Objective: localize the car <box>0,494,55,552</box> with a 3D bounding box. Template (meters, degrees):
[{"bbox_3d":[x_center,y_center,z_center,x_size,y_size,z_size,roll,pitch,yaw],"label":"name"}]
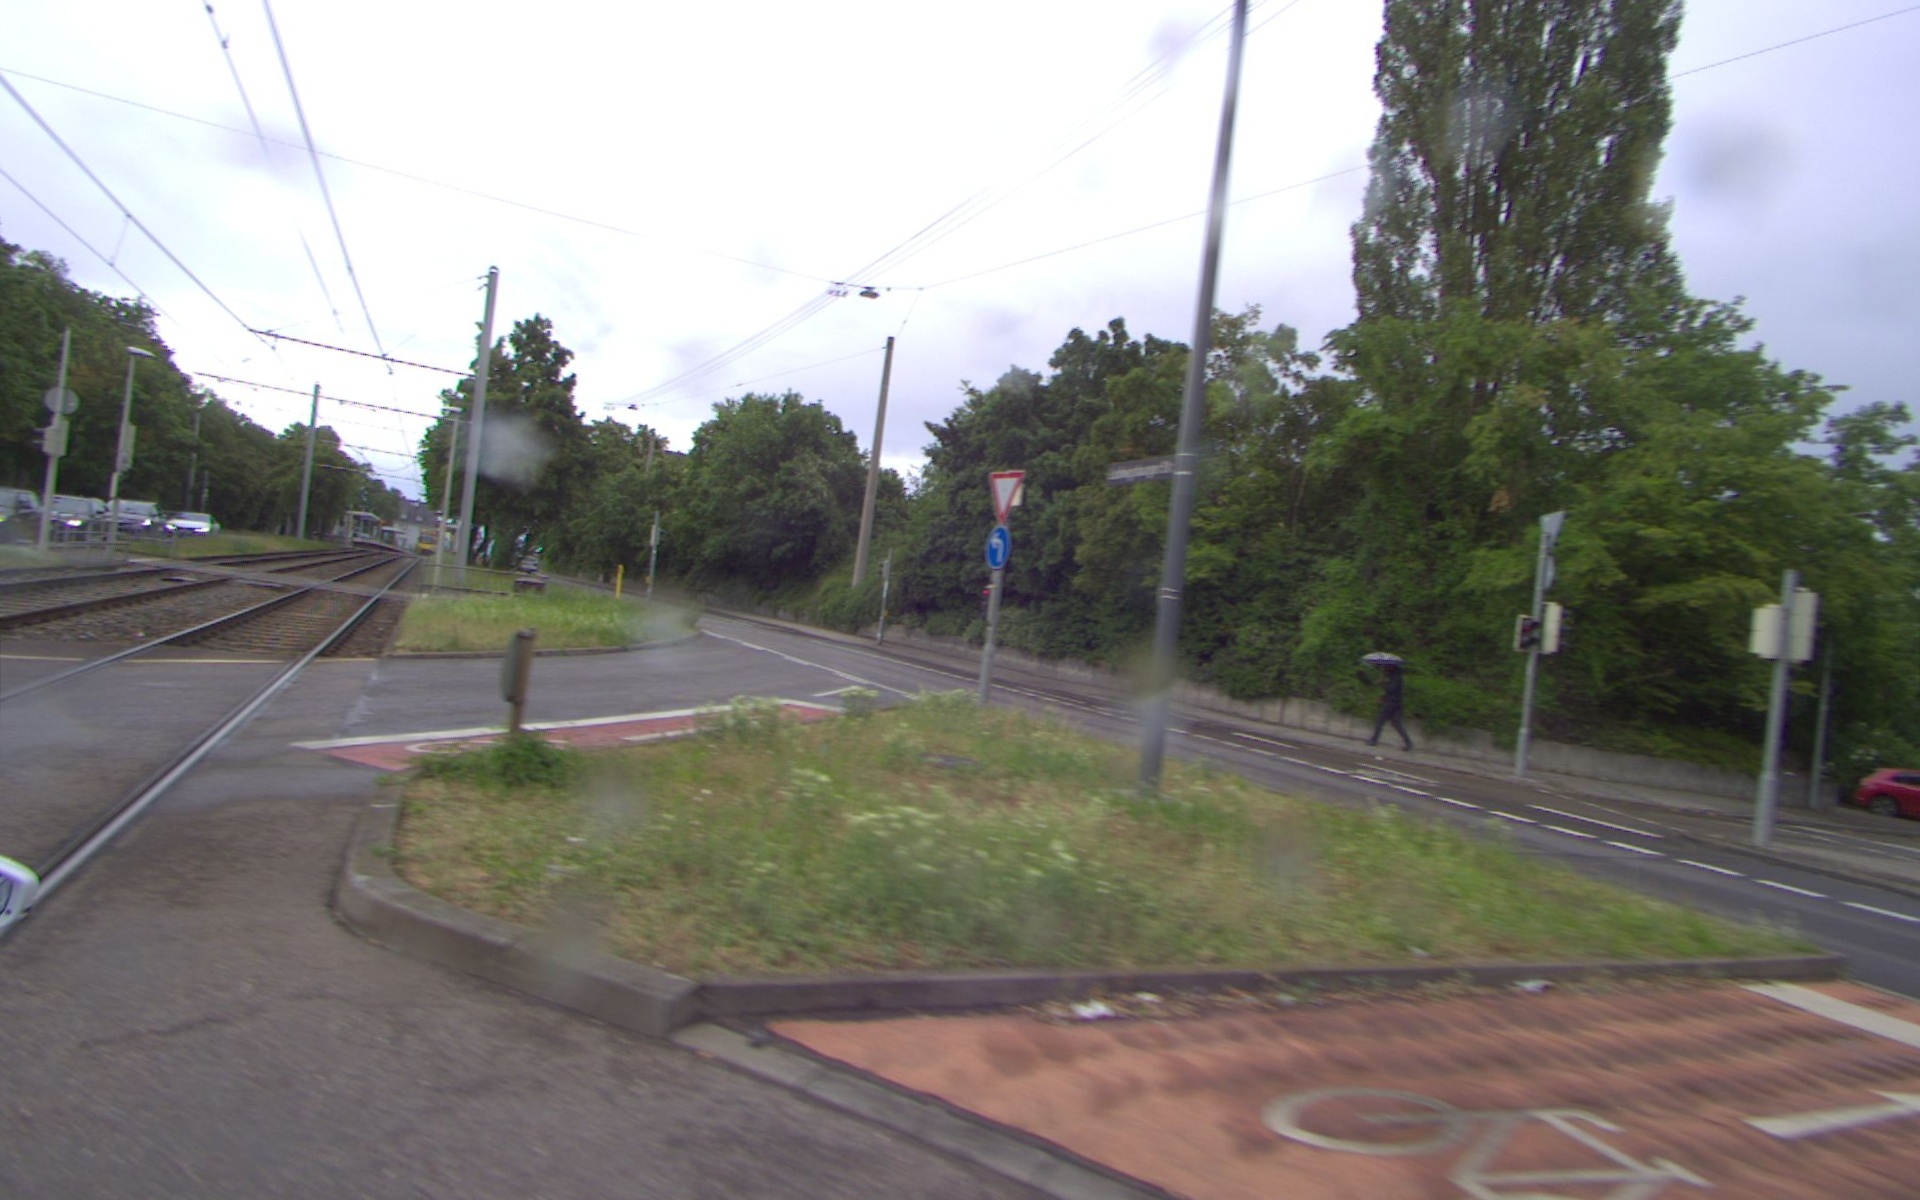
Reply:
[{"bbox_3d":[-25.967,-2.130,26.936,1.589,1.418,3.764,9,-1,-28],"label":"car"}]

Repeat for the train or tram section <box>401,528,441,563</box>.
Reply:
[{"bbox_3d":[-74.073,-7.557,138.628,4.028,3.939,14.936,9,-1,-27],"label":"train or tram section"}]

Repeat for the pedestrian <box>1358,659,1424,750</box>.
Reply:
[{"bbox_3d":[8.298,2.011,19.376,0.800,1.624,0.679,8,-3,-26],"label":"pedestrian"}]

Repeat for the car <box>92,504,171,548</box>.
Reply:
[{"bbox_3d":[-33.181,-2.915,40.402,1.589,1.418,3.764,9,-1,-28],"label":"car"}]

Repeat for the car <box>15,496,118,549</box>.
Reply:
[{"bbox_3d":[-28.851,-2.470,32.600,1.587,1.420,3.764,5,1,-29],"label":"car"}]

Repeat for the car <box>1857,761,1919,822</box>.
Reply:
[{"bbox_3d":[26.233,5.267,26.150,1.662,1.370,3.967,8,-1,-32],"label":"car"}]

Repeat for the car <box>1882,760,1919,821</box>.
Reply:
[{"bbox_3d":[28.022,5.506,27.346,1.661,1.567,3.967,8,-1,-32],"label":"car"}]

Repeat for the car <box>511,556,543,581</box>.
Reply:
[{"bbox_3d":[-33.364,-2.431,77.423,1.691,1.539,3.763,9,-1,-29],"label":"car"}]

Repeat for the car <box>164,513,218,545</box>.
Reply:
[{"bbox_3d":[-40.414,-3.713,52.912,1.588,1.419,3.764,6,0,-29],"label":"car"}]
